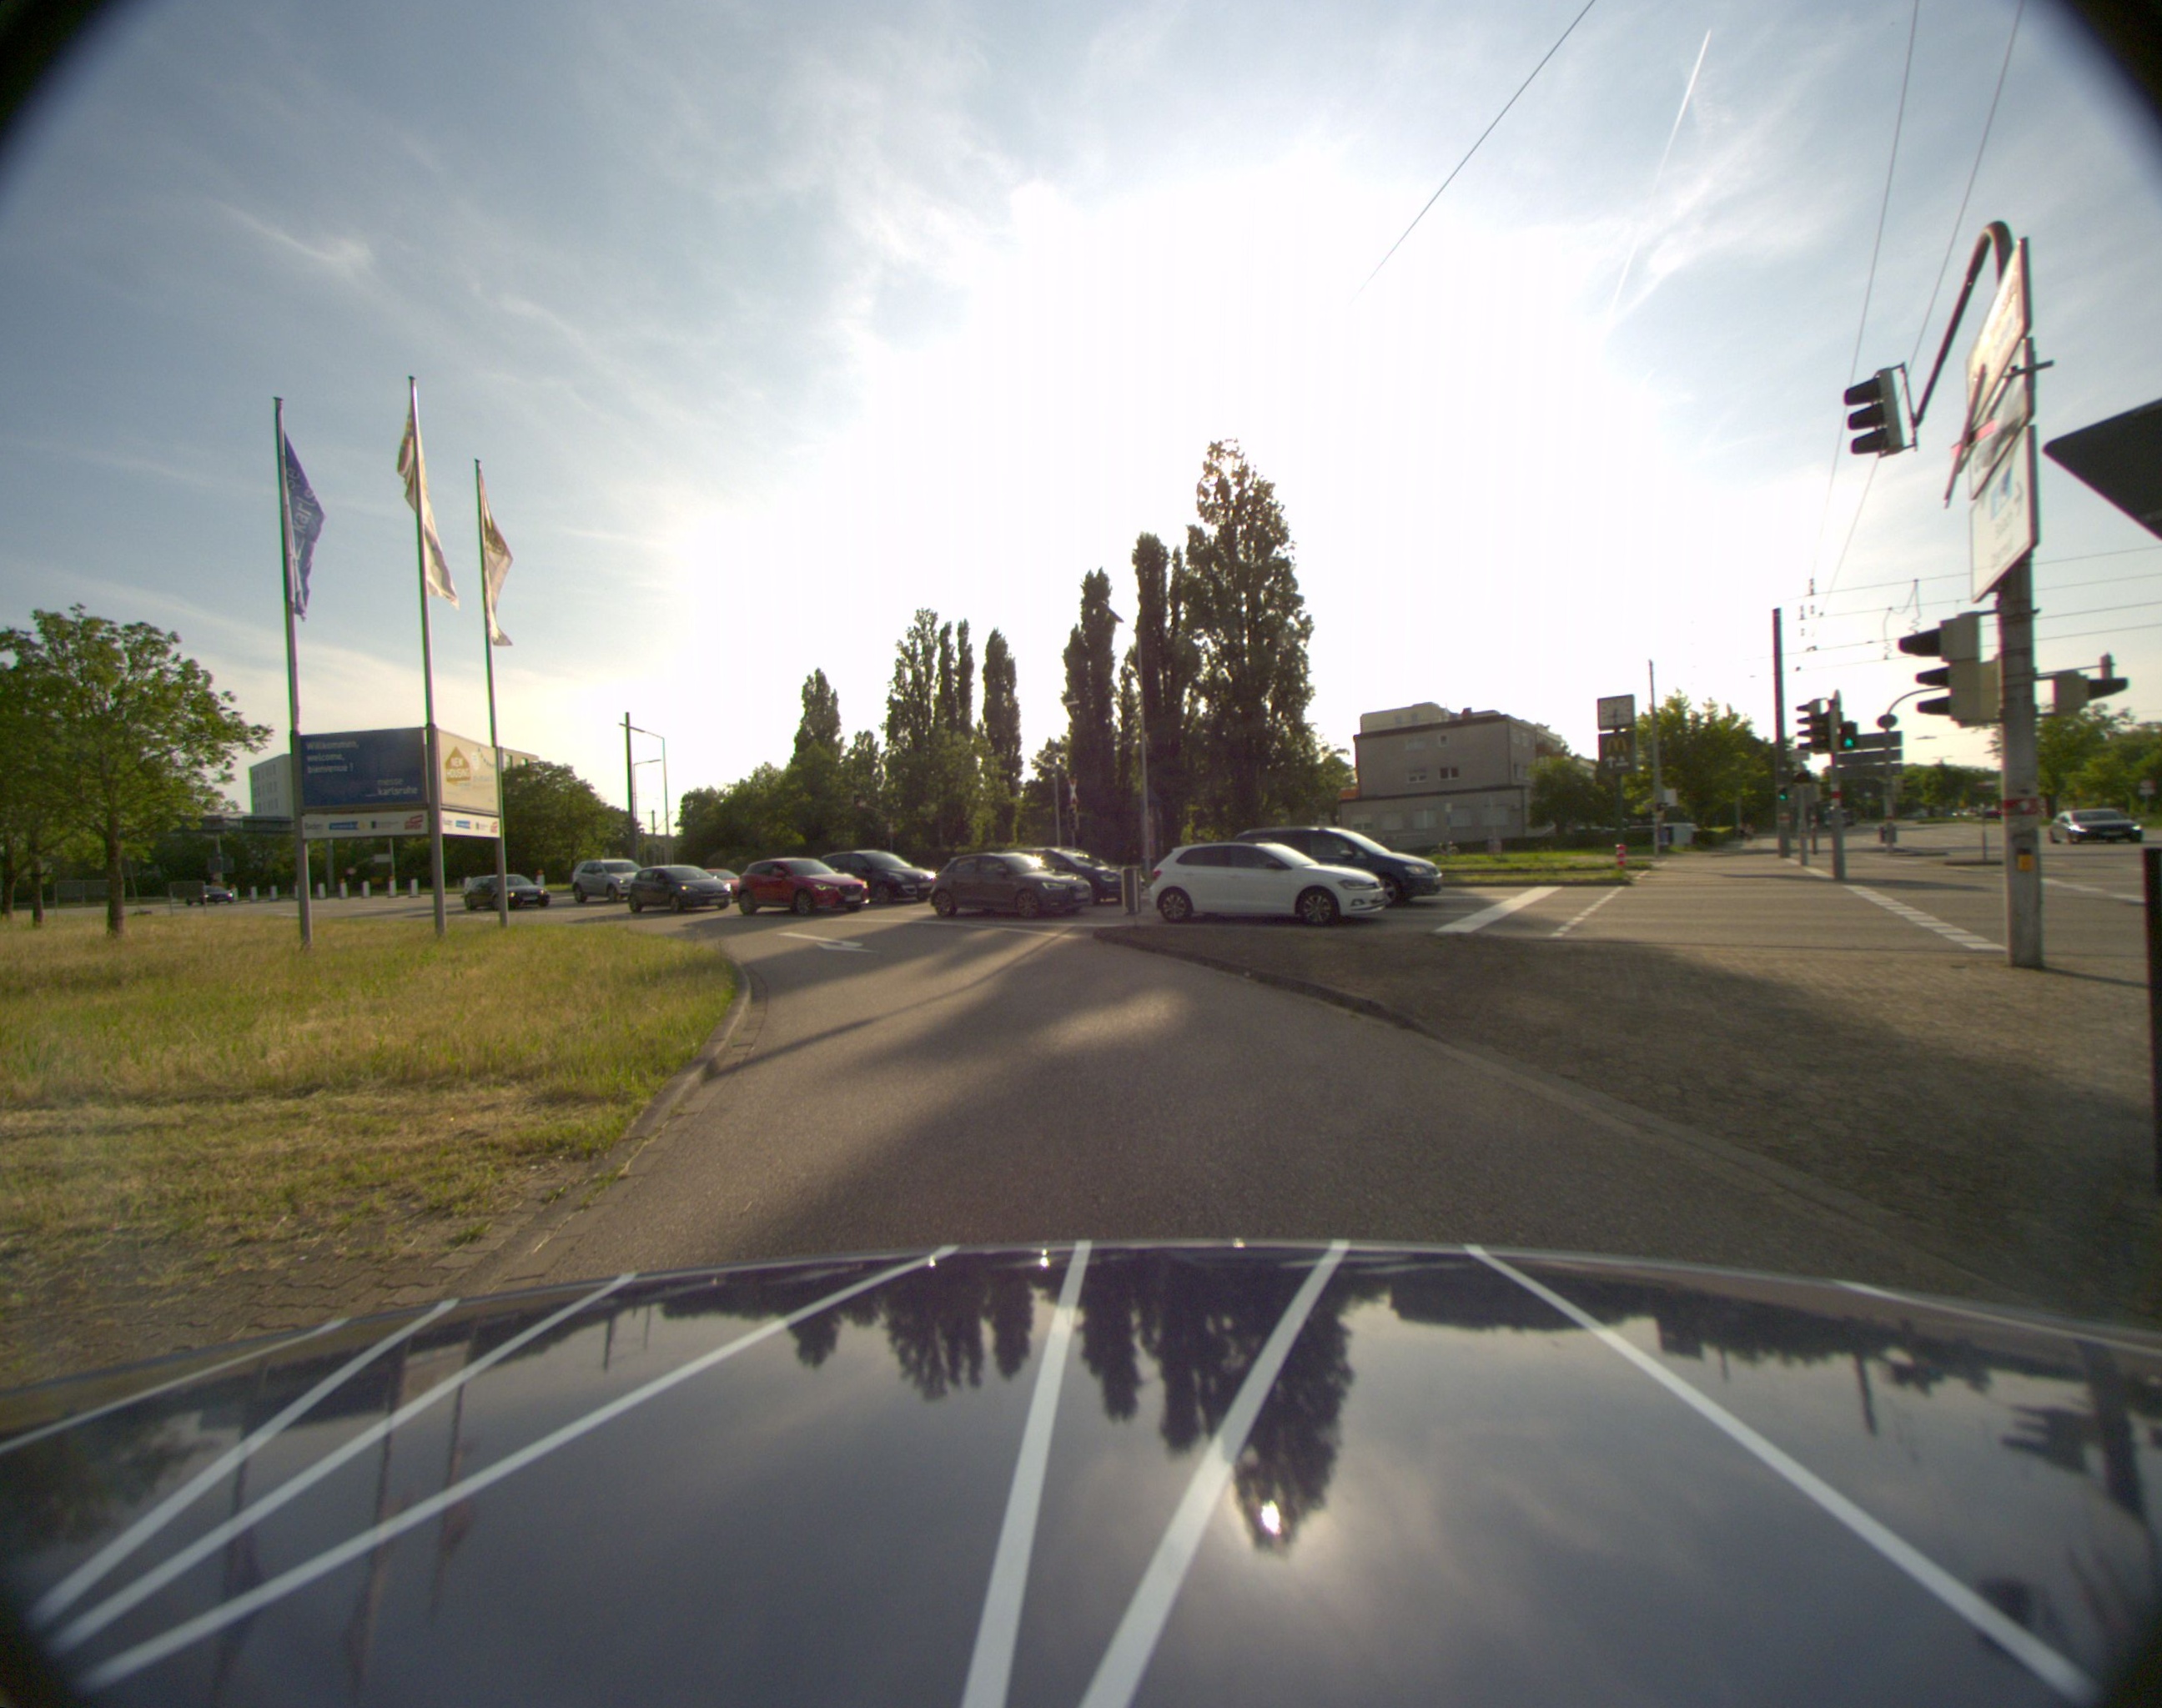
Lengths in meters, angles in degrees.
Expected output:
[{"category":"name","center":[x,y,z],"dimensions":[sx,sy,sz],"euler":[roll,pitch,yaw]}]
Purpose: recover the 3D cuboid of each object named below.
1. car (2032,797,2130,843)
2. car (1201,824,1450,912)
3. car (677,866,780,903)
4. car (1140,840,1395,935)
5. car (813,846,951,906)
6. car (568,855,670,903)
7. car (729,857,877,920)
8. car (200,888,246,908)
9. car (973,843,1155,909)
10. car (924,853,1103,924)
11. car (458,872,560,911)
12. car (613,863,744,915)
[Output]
[{"category":"car","center":[42.418,-1.423,32.323],"dimensions":[1.515,1.782,4.007],"euler":[-2,1,37]},{"category":"car","center":[5.047,0.309,16.077],"dimensions":[4.731,1.642,1.514],"euler":[-2,1,36]},{"category":"car","center":[-13.381,1.162,28.786],"dimensions":[3.836,1.200,1.739],"euler":[-2,3,34]},{"category":"car","center":[3.236,0.559,13.459],"dimensions":[4.003,1.435,1.665],"euler":[-2,1,33]},{"category":"car","center":[-6.195,0.688,23.531],"dimensions":[4.073,1.661,1.772],"euler":[-2,1,33]},{"category":"car","center":[-19.750,1.074,32.418],"dimensions":[4.344,1.814,1.905],"euler":[-2,3,33]},{"category":"car","center":[-7.669,0.925,20.879],"dimensions":[3.967,1.543,1.715],"euler":[-2,1,33]},{"category":"car","center":[-69.505,3.527,61.545],"dimensions":[3.899,1.447,1.899],"euler":[-2,1,33]},{"category":"car","center":[-0.511,0.563,19.796],"dimensions":[4.541,1.499,1.708],"euler":[-2,2,35]},{"category":"car","center":[-1.566,0.745,17.107],"dimensions":[3.817,1.389,1.650],"euler":[-2,1,36]},{"category":"car","center":[-23.583,1.535,31.303],"dimensions":[4.344,1.378,1.905],"euler":[-2,2,33]},{"category":"car","center":[-12.965,1.122,24.415],"dimensions":[4.211,1.497,1.750],"euler":[-2,1,32]}]
